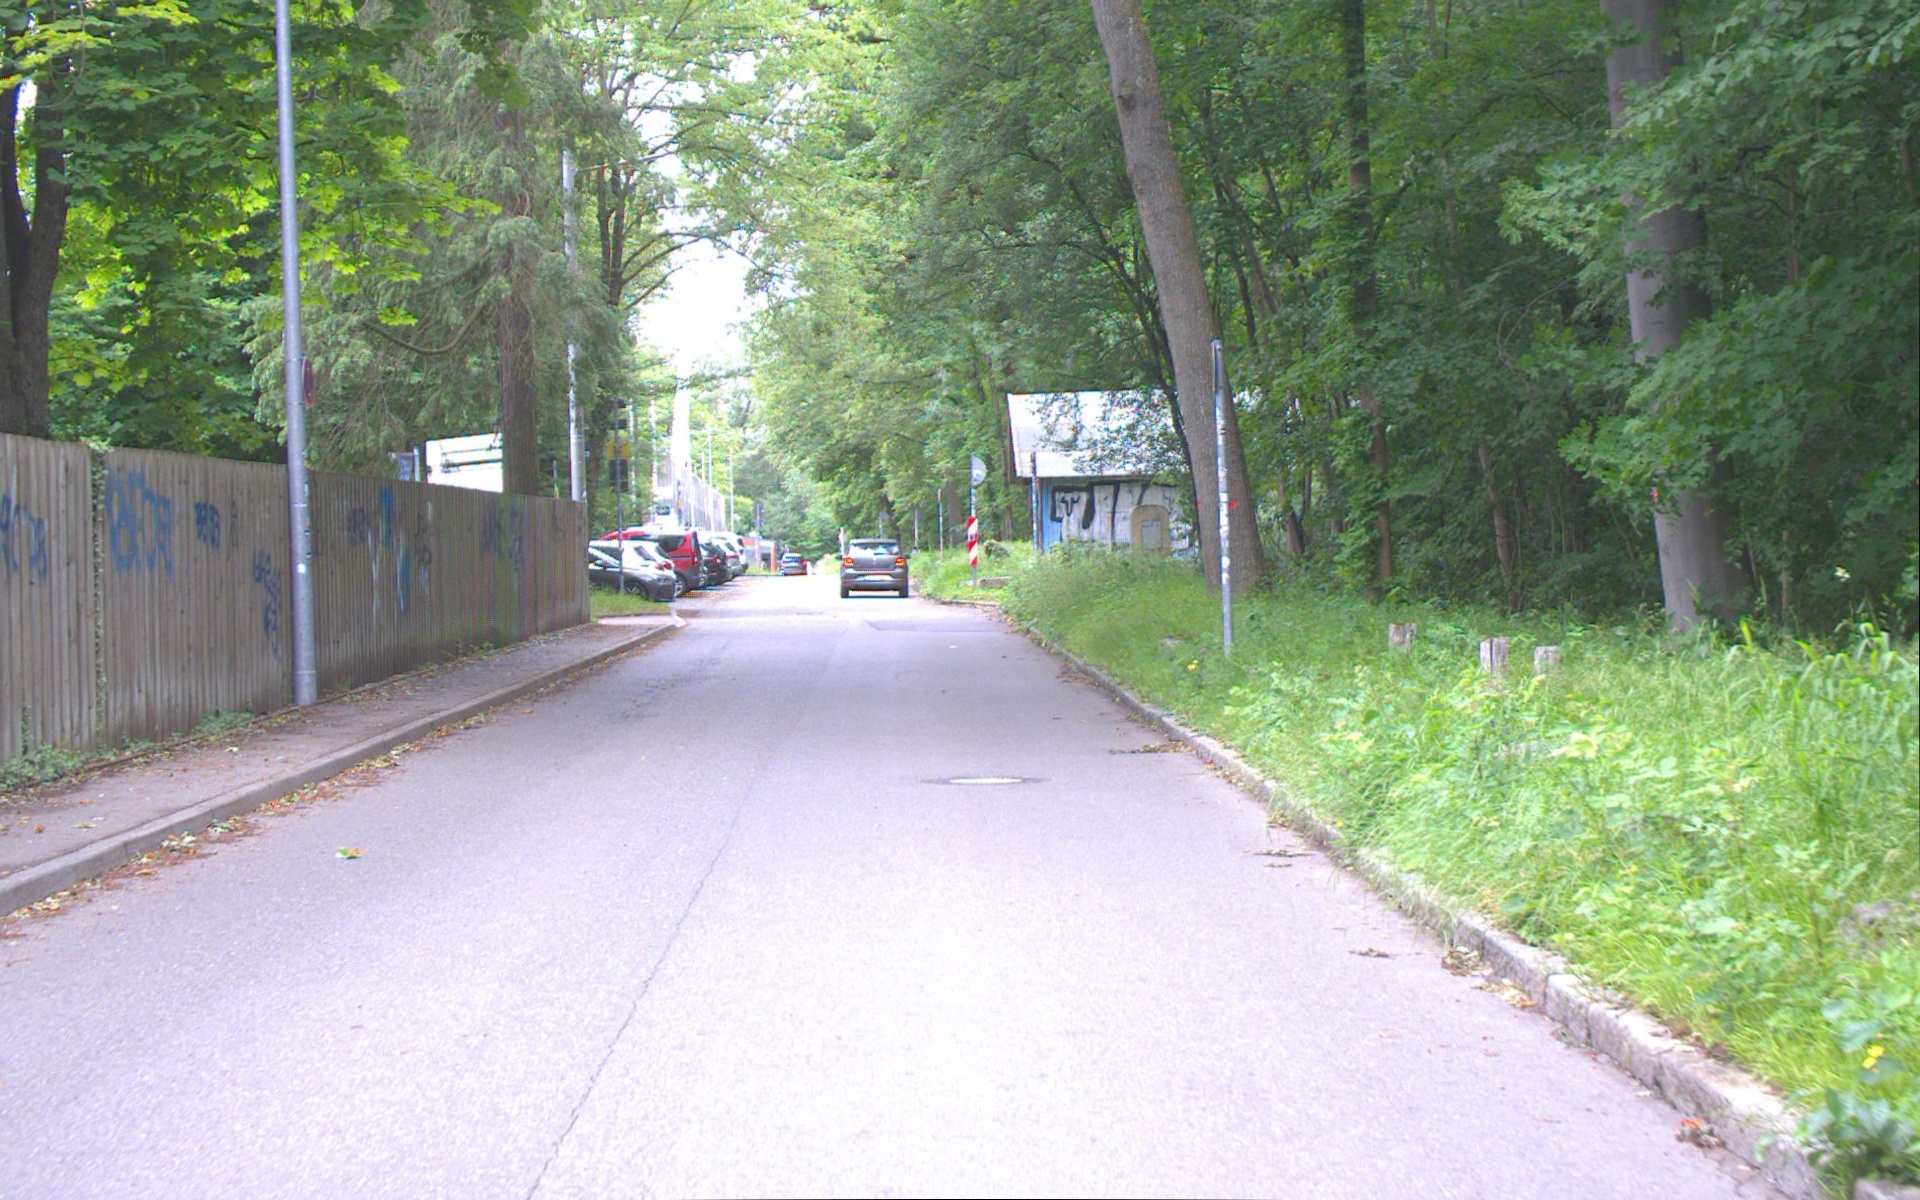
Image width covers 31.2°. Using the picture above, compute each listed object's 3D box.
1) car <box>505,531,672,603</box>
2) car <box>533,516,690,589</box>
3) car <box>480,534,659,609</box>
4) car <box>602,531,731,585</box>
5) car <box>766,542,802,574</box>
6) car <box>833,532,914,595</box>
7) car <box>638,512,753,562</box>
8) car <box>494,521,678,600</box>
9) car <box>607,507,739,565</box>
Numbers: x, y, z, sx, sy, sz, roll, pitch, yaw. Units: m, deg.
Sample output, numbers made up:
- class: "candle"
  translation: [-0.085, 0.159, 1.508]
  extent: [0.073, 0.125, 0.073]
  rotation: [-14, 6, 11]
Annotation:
- class: "car"
  translation: [-9.132, -0.822, 84.823]
  extent: [3.986, 1.568, 2.000]
  rotation: [-3, 1, -5]
- class: "car"
  translation: [-9.102, -1.244, 90.034]
  extent: [3.986, 1.744, 2.000]
  rotation: [-2, 1, -4]
- class: "car"
  translation: [-8.959, -0.673, 79.199]
  extent: [3.986, 1.568, 2.000]
  rotation: [-2, 1, -5]
- class: "car"
  translation: [-8.439, -1.198, 99.037]
  extent: [3.572, 1.402, 1.650]
  rotation: [-2, 1, -1]
- class: "car"
  translation: [-11.627, -2.774, 227.052]
  extent: [1.993, 2.007, 4.001]
  rotation: [-2, 1, -7]
- class: "car"
  translation: [-2.106, -0.904, 84.937]
  extent: [1.908, 1.503, 4.000]
  rotation: [1, 1, 0]
- class: "car"
  translation: [-9.595, -2.285, 124.878]
  extent: [3.987, 1.590, 1.765]
  rotation: [-3, 1, -1]
- class: "car"
  translation: [-8.338, -0.886, 76.877]
  extent: [3.986, 1.568, 2.000]
  rotation: [-3, 1, -5]
- class: "car"
  translation: [-9.055, -2.013, 108.593]
  extent: [3.987, 1.590, 1.765]
  rotation: [-3, 1, -1]
